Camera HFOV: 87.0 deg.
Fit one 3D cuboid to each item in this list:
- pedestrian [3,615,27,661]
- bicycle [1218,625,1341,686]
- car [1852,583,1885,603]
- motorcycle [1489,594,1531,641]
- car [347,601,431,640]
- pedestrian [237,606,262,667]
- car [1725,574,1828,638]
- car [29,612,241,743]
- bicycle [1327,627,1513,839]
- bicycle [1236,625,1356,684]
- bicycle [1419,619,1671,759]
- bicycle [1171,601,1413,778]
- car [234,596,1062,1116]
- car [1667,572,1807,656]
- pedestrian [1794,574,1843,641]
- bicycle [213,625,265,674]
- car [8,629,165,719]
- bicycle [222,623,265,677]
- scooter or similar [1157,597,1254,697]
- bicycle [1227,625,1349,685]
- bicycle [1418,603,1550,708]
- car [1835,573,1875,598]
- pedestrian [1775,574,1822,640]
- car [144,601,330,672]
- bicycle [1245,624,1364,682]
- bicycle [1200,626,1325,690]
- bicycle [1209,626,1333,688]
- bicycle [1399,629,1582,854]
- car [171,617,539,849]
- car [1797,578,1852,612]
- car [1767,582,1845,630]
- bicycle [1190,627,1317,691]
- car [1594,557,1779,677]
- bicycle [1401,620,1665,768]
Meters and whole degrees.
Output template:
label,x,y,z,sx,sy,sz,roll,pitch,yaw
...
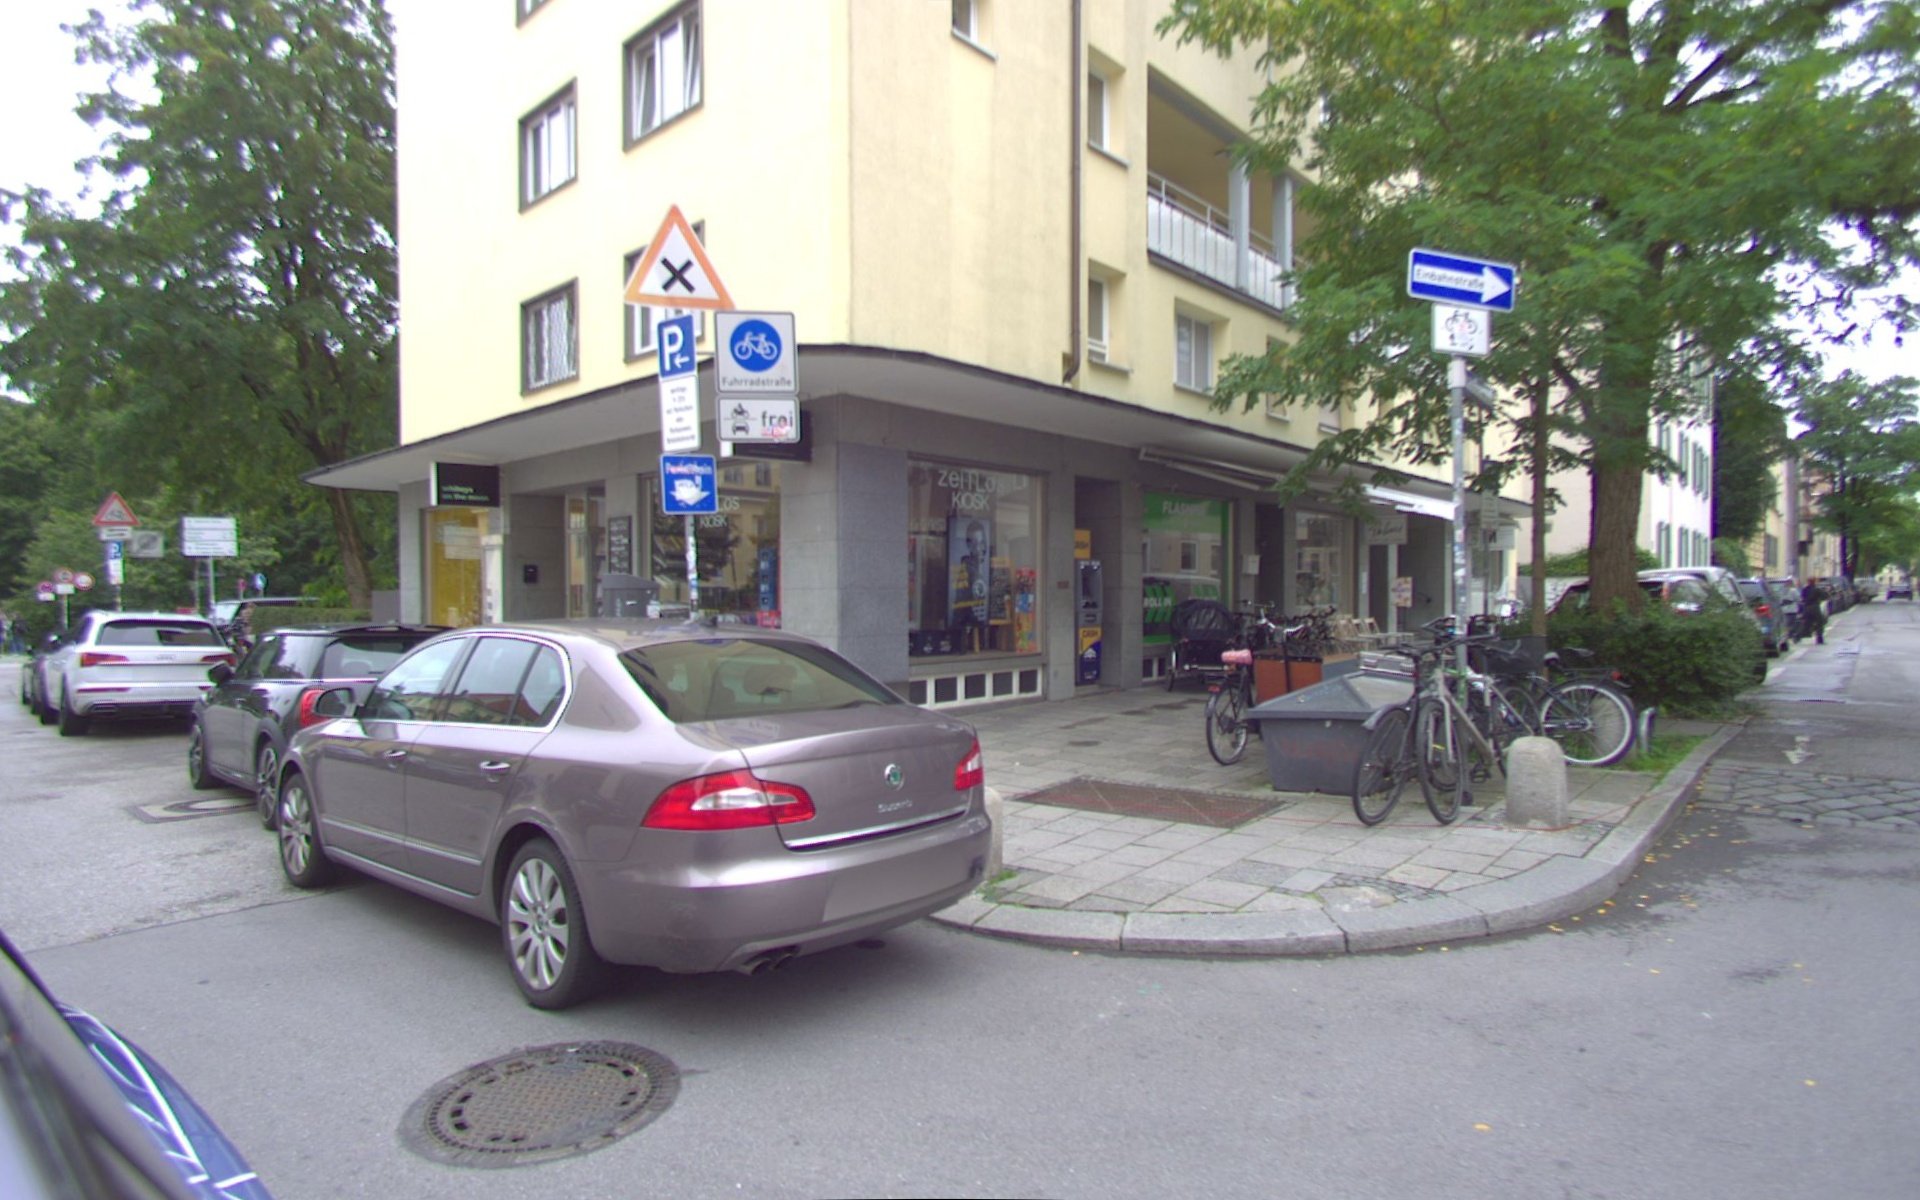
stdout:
label,x,y,z,sx,sy,sz,roll,pitch,yaw
pedestrian,-37.352,1.497,40.004,0.801,1.795,0.626,-4,-3,43
bicycle,4.599,0.789,14.645,1.722,0.786,0.289,1,1,41
car,77.852,-0.611,86.698,1.776,1.608,4.107,-5,-3,45
motorcycle,13.803,0.420,25.397,0.462,1.092,1.820,1,2,44
car,-33.231,1.179,59.007,3.901,2.120,1.911,-1,1,-16
pedestrian,-21.659,1.121,30.859,0.551,1.812,0.642,-1,-2,-29
car,23.275,0.165,28.805,1.776,1.608,4.107,-5,-3,45
car,-11.839,1.028,14.424,4.338,1.596,1.783,-3,-3,43
bicycle,2.893,0.744,6.261,1.797,1.042,0.392,-3,1,-44
bicycle,4.988,0.787,15.095,1.722,0.786,0.289,1,1,41
bicycle,4.633,0.664,8.104,1.715,0.973,0.376,1,2,40
bicycle,2.991,0.671,8.853,2.810,1.220,0.818,-3,2,-44
car,-1.987,0.776,5.157,4.947,1.482,1.662,-1,-2,41
car,16.707,0.291,21.687,1.776,1.608,4.107,-5,-3,45
pedestrian,20.666,0.175,24.362,0.673,1.609,0.573,0,0,6
bicycle,-18.718,1.259,26.309,0.573,1.134,2.305,-2,1,-23
car,-15.769,1.236,18.203,4.098,1.421,1.726,-2,-2,43
bicycle,-17.336,1.193,24.476,0.555,1.219,1.855,-2,1,-44
scooter or similar,3.161,0.580,13.136,0.986,1.210,1.203,0,0,2
bicycle,4.795,0.788,14.874,1.722,0.786,0.289,1,1,41
bicycle,6.807,0.680,13.086,2.339,1.221,0.818,2,-1,-45
car,63.056,-0.999,71.307,1.776,1.608,4.107,-5,-3,45
pedestrian,20.688,0.166,24.971,0.673,1.594,0.573,0,0,5
car,-22.558,1.070,31.756,1.927,2.016,4.378,1,1,28
bicycle,5.187,0.786,15.317,1.722,0.786,0.289,1,1,41
bicycle,4.212,0.791,14.185,1.722,0.786,0.289,1,1,41
bicycle,4.405,0.790,14.418,1.722,0.786,0.289,1,1,41
bicycle,3.174,0.749,5.971,1.797,1.042,0.392,-3,1,-44
car,-5.238,0.892,8.514,4.098,1.482,1.660,-1,-2,44
car,44.459,-0.256,52.021,1.776,1.608,4.107,-5,-3,45
car,31.014,0.214,37.063,1.776,1.608,4.107,-5,-3,45
bicycle,4.016,0.792,13.964,1.722,0.786,0.289,1,1,41
car,13.025,0.297,18.044,1.908,1.859,4.397,-5,-3,45
bicycle,4.322,0.668,7.726,1.715,0.973,0.376,1,2,40
